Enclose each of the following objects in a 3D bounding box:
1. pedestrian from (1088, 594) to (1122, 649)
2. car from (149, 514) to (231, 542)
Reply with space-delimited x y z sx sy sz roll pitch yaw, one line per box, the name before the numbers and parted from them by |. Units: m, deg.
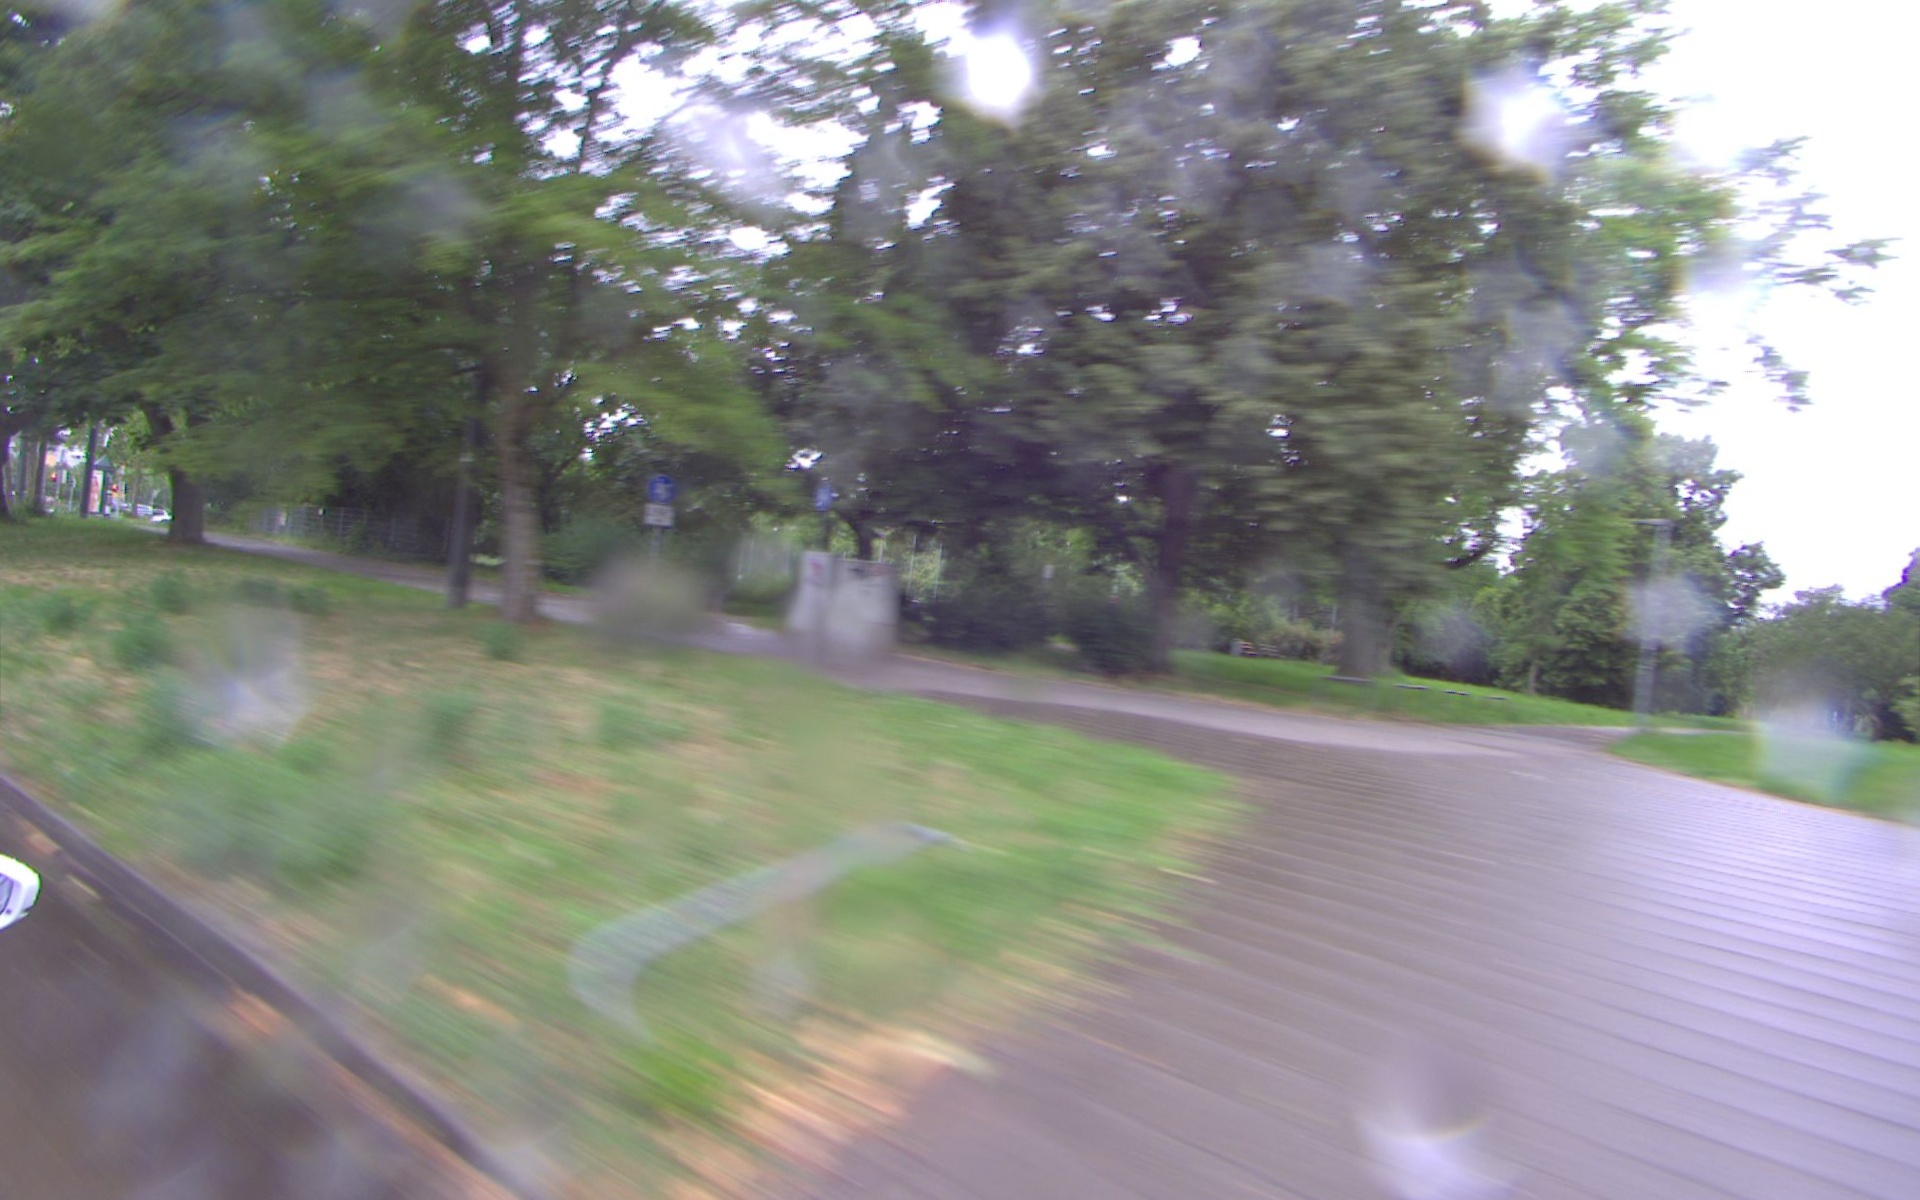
pedestrian | 4.843 0.710 33.586 0.838 1.716 1.035 7 1 14
car | -55.638 -5.189 72.711 4.500 1.407 1.624 7 -1 -44
